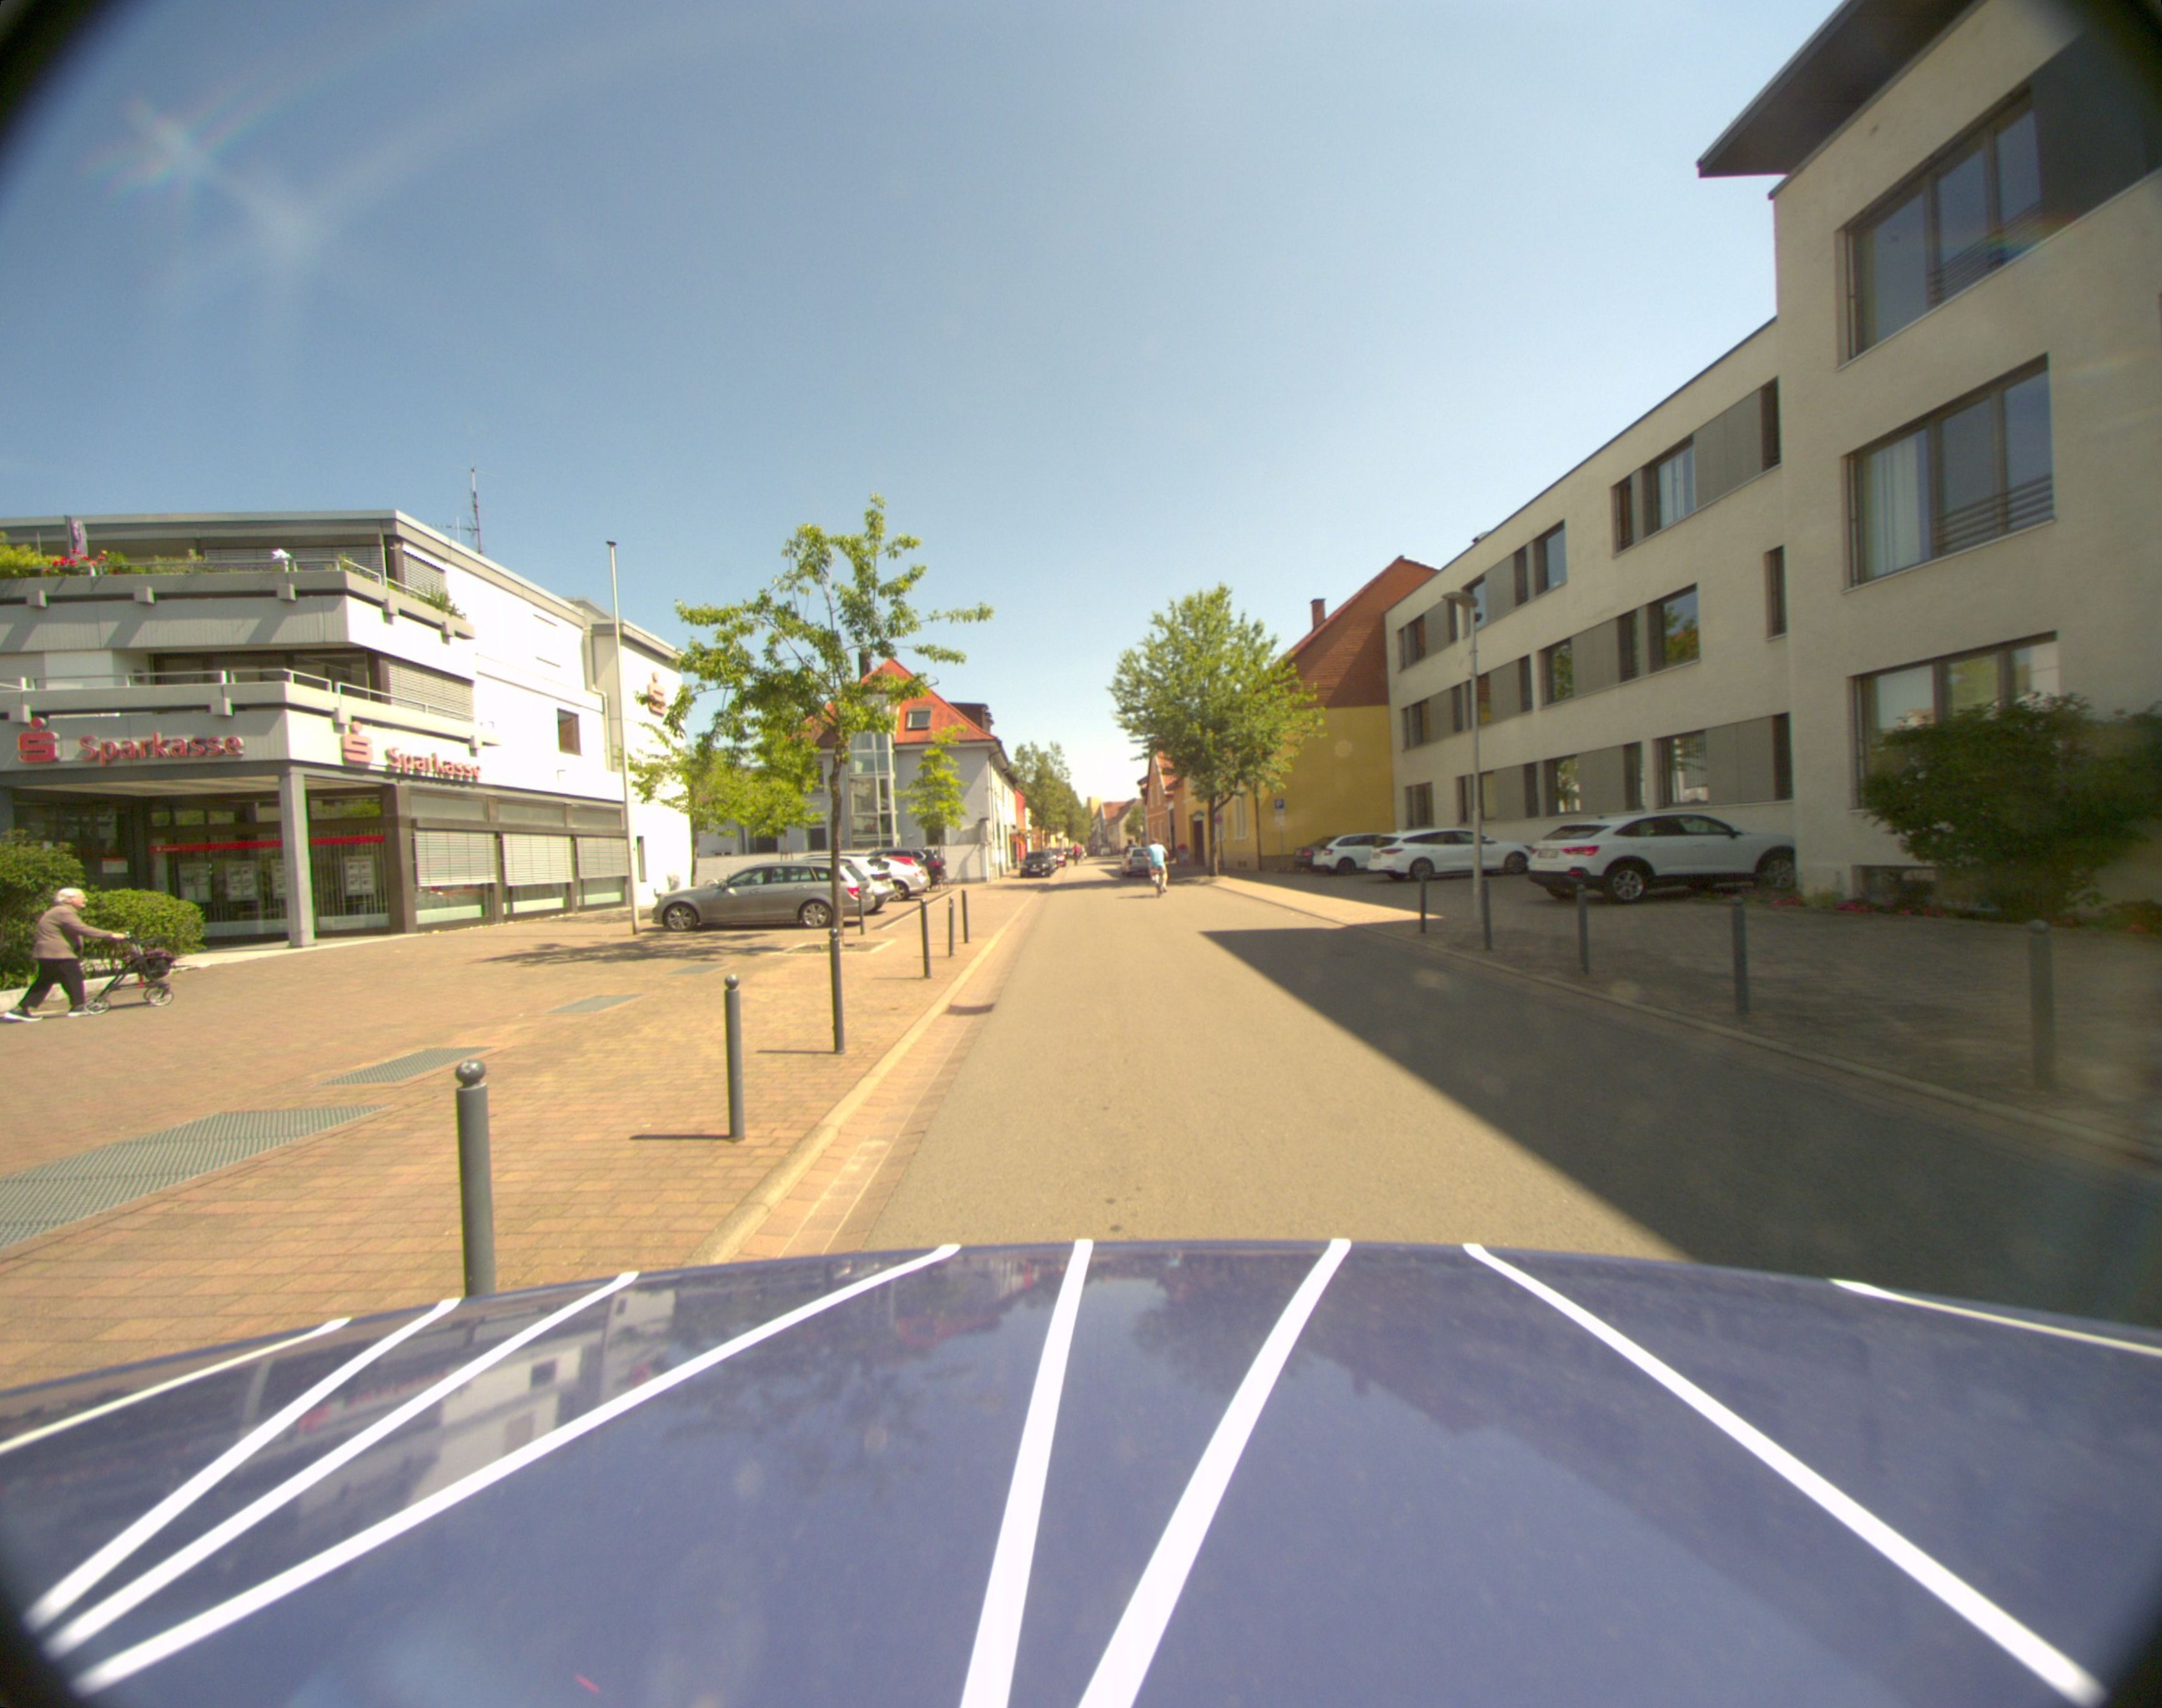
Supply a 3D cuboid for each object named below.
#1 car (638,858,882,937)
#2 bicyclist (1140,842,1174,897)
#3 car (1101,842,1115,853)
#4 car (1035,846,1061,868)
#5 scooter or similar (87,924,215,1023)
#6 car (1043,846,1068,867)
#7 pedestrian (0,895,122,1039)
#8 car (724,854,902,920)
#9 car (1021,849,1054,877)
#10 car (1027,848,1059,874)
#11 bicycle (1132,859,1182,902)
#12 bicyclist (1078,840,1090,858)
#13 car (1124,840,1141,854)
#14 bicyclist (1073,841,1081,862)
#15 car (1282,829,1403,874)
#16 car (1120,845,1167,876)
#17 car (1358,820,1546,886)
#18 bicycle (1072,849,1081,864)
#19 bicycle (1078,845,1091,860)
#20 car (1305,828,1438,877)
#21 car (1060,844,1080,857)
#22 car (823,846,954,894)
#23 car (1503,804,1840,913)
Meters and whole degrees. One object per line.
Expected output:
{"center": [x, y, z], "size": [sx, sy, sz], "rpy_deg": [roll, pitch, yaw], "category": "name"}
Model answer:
{"center": [-6.928, 0.901, 16.871], "size": [4.589, 1.504, 1.915], "rpy_deg": [-1, 1, -6], "category": "car"}
{"center": [2.146, 0.435, 21.467], "size": [0.669, 1.518, 0.763], "rpy_deg": [-1, 1, 29], "category": "bicyclist"}
{"center": [5.816, -1.370, 162.870], "size": [2.443, 2.224, 4.958], "rpy_deg": [-3, 1, -3], "category": "car"}
{"center": [-2.426, 0.180, 56.027], "size": [1.741, 1.504, 3.735], "rpy_deg": [-2, 0, -1], "category": "car"}
{"center": [-11.411, 1.435, 9.339], "size": [0.590, 1.069, 0.806], "rpy_deg": [-2, 1, 23], "category": "scooter or similar"}
{"center": [-2.134, 0.180, 62.154], "size": [1.834, 1.579, 4.086], "rpy_deg": [-4, 1, -3], "category": "car"}
{"center": [-11.756, 1.249, 8.649], "size": [0.667, 1.488, 0.812], "rpy_deg": [-3, 1, 23], "category": "pedestrian"}
{"center": [-6.851, 0.821, 19.789], "size": [3.998, 1.564, 1.856], "rpy_deg": [0, 2, -4], "category": "car"}
{"center": [-2.388, 0.464, 42.490], "size": [1.708, 1.473, 3.920], "rpy_deg": [-1, 1, -1], "category": "car"}
{"center": [-2.378, 0.412, 48.228], "size": [1.721, 1.473, 4.095], "rpy_deg": [-2, 1, 1], "category": "car"}
{"center": [2.180, 0.723, 21.527], "size": [0.674, 1.103, 1.899], "rpy_deg": [-1, 1, 29], "category": "bicycle"}
{"center": [0.284, -0.489, 70.828], "size": [1.028, 1.635, 1.025], "rpy_deg": [-2, 1, 3], "category": "bicyclist"}
{"center": [6.808, -0.933, 100.049], "size": [1.863, 1.620, 4.048], "rpy_deg": [-3, 1, 7], "category": "car"}
{"center": [-0.350, -0.213, 63.296], "size": [0.645, 1.766, 0.722], "rpy_deg": [-1, 0, 2], "category": "bicyclist"}
{"center": [10.258, -0.100, 29.970], "size": [3.998, 1.423, 1.971], "rpy_deg": [-4, 0, -4], "category": "car"}
{"center": [3.082, 0.288, 38.178], "size": [1.885, 1.455, 4.435], "rpy_deg": [-1, 1, -1], "category": "car"}
{"center": [10.751, -0.054, 22.273], "size": [4.515, 1.545, 1.934], "rpy_deg": [-4, 2, 0], "category": "car"}
{"center": [-0.355, 0.209, 63.218], "size": [0.635, 1.227, 1.894], "rpy_deg": [-1, -1, 2], "category": "bicycle"}
{"center": [0.320, -0.150, 71.109], "size": [0.959, 1.363, 2.406], "rpy_deg": [-2, 1, 4], "category": "bicycle"}
{"center": [10.370, -0.050, 27.322], "size": [3.997, 1.443, 1.807], "rpy_deg": [-4, 0, 0], "category": "car"}
{"center": [-1.405, -0.526, 100.298], "size": [1.928, 1.594, 4.110], "rpy_deg": [-3, 1, 7], "category": "car"}
{"center": [-7.470, 0.605, 29.899], "size": [4.643, 1.761, 2.147], "rpy_deg": [-1, 0, -3], "category": "car"}
{"center": [10.636, 0.057, 13.976], "size": [4.518, 1.545, 2.147], "rpy_deg": [-4, 1, -2], "category": "car"}
